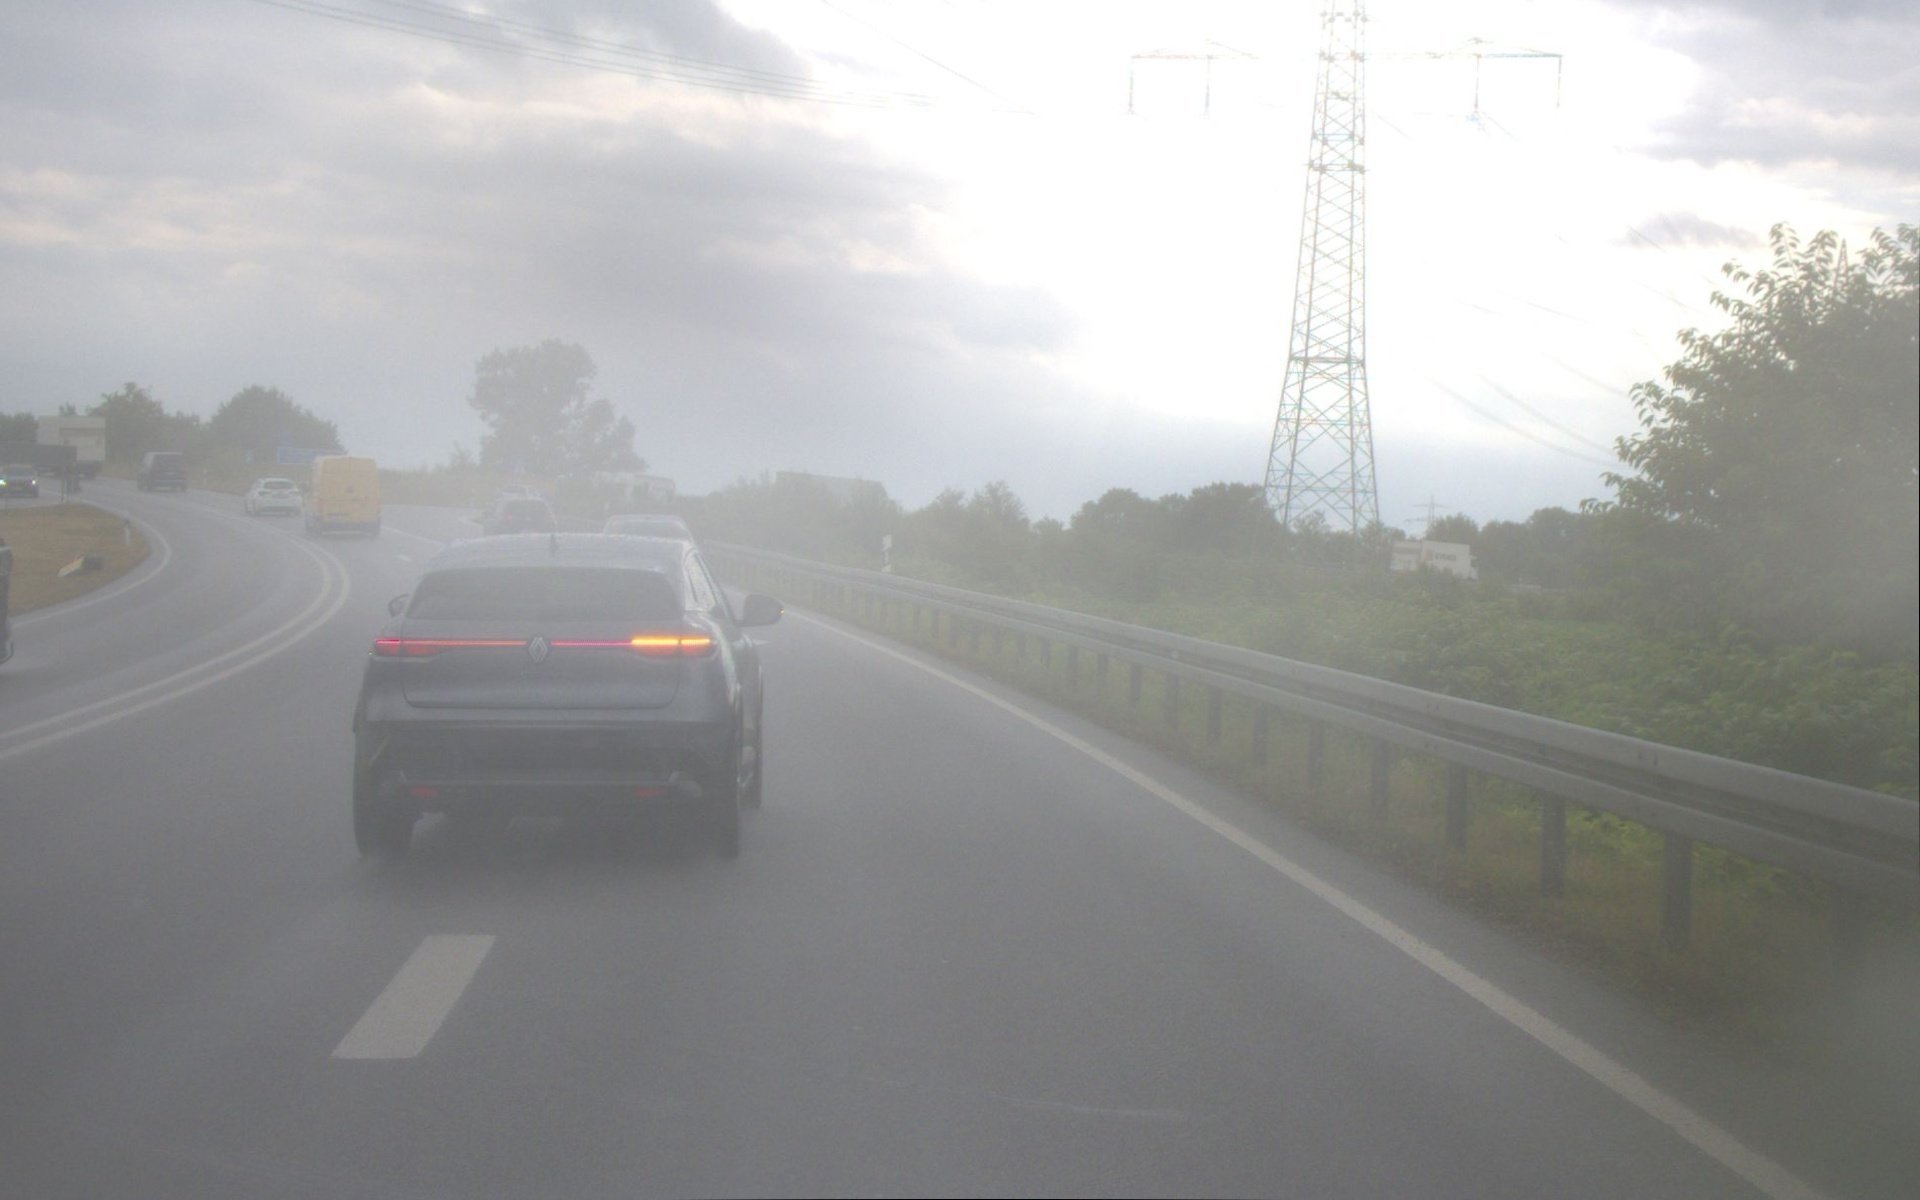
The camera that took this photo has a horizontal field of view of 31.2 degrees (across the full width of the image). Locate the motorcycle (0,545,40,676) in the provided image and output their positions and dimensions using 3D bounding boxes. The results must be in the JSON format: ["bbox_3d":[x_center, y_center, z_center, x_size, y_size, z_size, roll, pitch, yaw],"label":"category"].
[{"bbox_3d":[-9.763,0.087,34.171,0.802,1.234,2.186,1,2,-5],"label":"motorcycle"}]

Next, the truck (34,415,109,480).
[{"bbox_3d":[-50.219,-8.575,194.214,3.045,3.373,7.646,1,0,-22],"label":"truck"}]

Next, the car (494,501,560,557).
[{"bbox_3d":[-12.391,-2.017,98.280,1.791,1.536,4.001,0,0,-9],"label":"car"}]

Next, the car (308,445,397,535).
[{"bbox_3d":[-19.241,-3.442,108.655,2.572,2.716,7.198,-1,1,-11],"label":"car"}]

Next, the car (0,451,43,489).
[{"bbox_3d":[-42.379,-5.848,154.769,1.980,1.598,3.918,2,1,-14],"label":"car"}]

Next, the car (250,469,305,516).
[{"bbox_3d":[-26.140,-4.104,131.536,1.791,1.682,4.001,1,0,-15],"label":"car"}]

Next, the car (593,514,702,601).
[{"bbox_3d":[-5.476,-0.756,60.014,1.791,1.436,4.001,-1,1,-6],"label":"car"}]

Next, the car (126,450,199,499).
[{"bbox_3d":[-39.523,-6.210,170.250,2.601,2.243,5.536,1,0,-22],"label":"car"}]

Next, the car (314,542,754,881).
[{"bbox_3d":[-1.977,0.456,16.990,1.791,1.436,4.001,1,1,-2],"label":"car"}]

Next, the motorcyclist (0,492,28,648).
[{"bbox_3d":[-9.766,-0.310,34.197,0.802,1.530,0.825,1,1,-5],"label":"motorcyclist"}]
